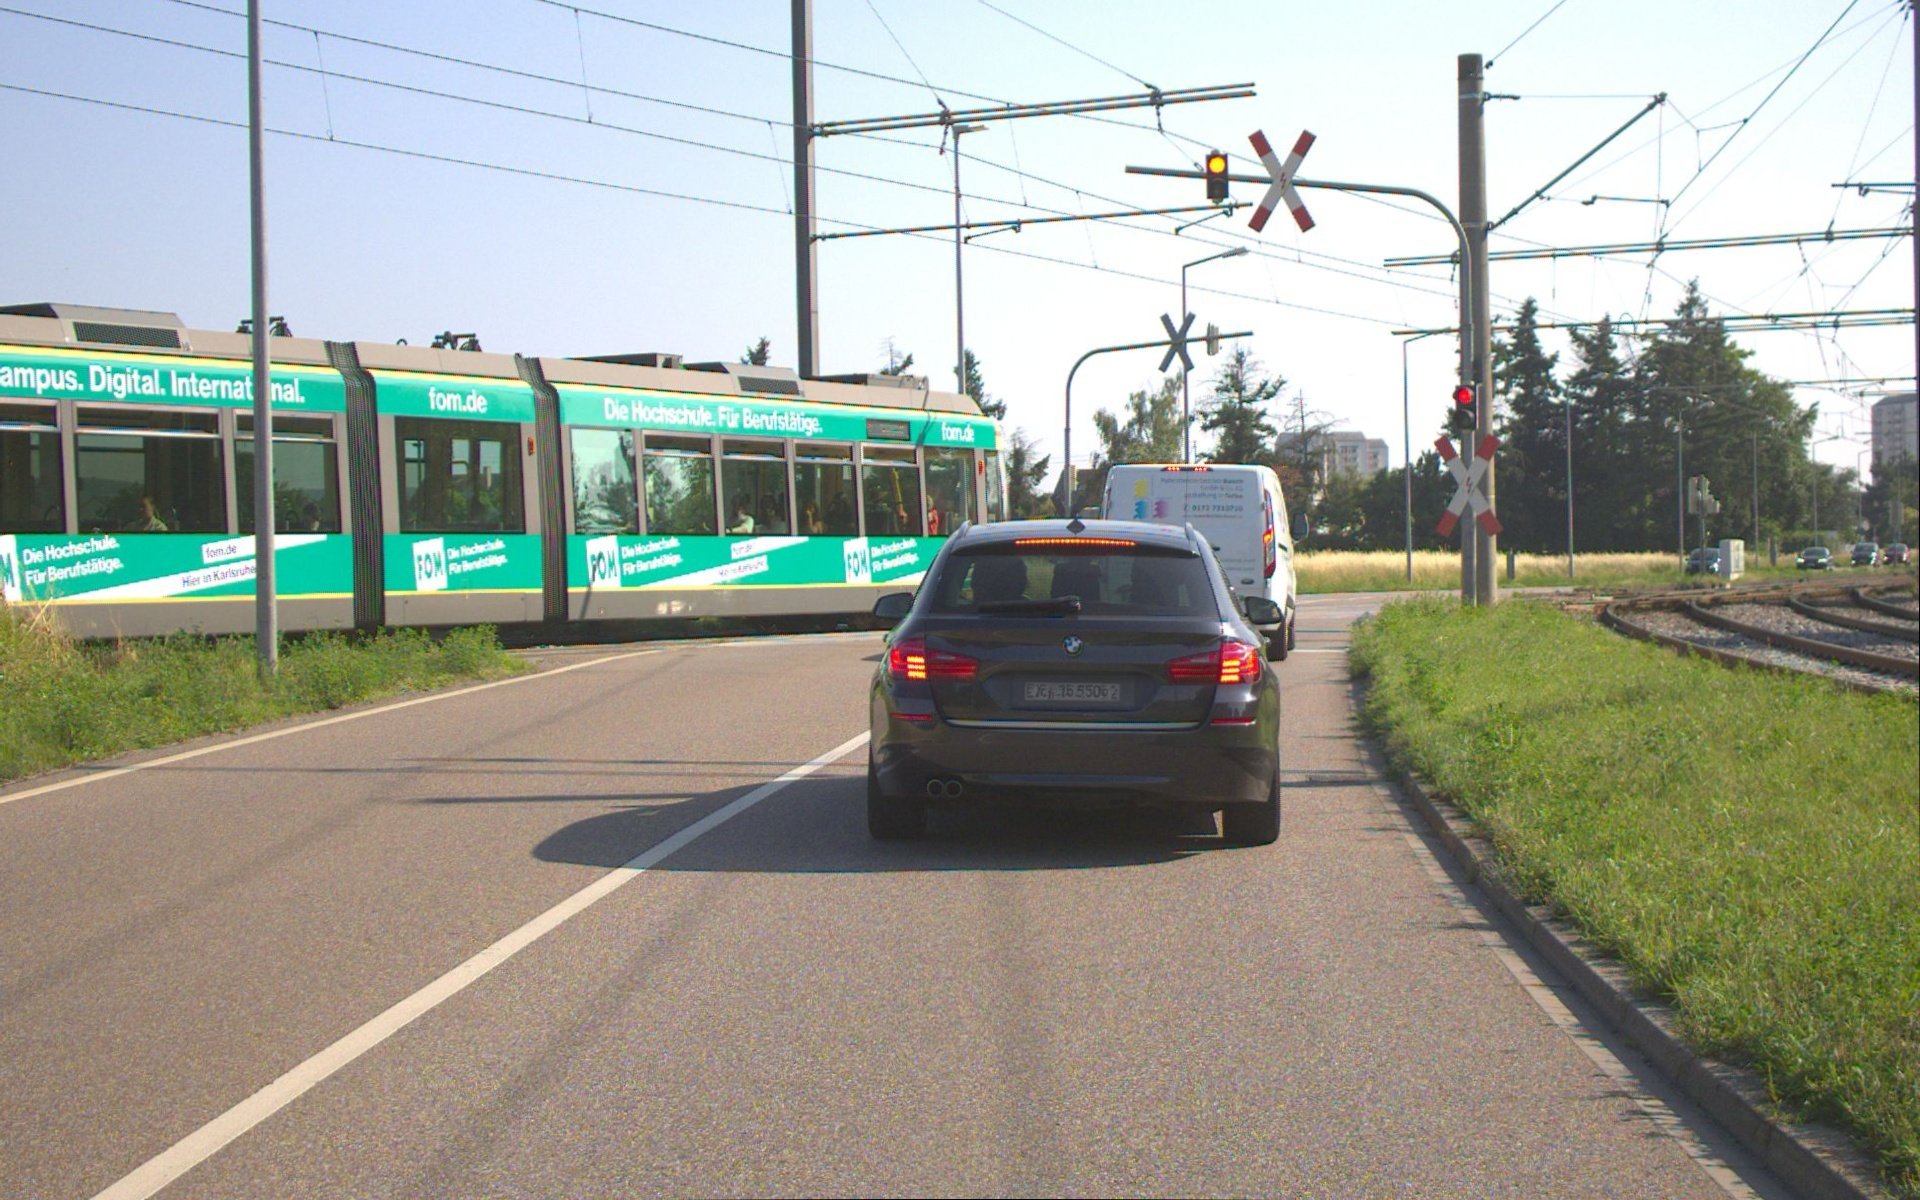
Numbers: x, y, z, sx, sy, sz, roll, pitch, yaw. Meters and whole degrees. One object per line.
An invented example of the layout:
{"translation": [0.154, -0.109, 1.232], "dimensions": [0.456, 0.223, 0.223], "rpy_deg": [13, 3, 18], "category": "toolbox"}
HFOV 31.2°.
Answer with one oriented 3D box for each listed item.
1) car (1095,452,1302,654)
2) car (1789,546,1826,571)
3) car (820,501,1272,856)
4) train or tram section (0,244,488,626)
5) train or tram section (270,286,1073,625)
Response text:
{"translation": [2.603, -0.513, 36.445], "dimensions": [1.858, 1.981, 5.107], "rpy_deg": [0, 1, 8], "category": "car"}
{"translation": [50.395, -2.497, 204.347], "dimensions": [1.695, 1.434, 4.279], "rpy_deg": [1, 1, 20], "category": "car"}
{"translation": [0.500, 0.340, 16.852], "dimensions": [1.869, 1.447, 4.743], "rpy_deg": [1, 0, 3], "category": "car"}
{"translation": [-9.355, -1.517, 32.796], "dimensions": [2.922, 3.442, 12.146], "rpy_deg": [1, 1, 29], "category": "train or tram section"}
{"translation": [-3.079, -1.560, 44.447], "dimensions": [2.911, 3.556, 14.237], "rpy_deg": [1, 0, 29], "category": "train or tram section"}
